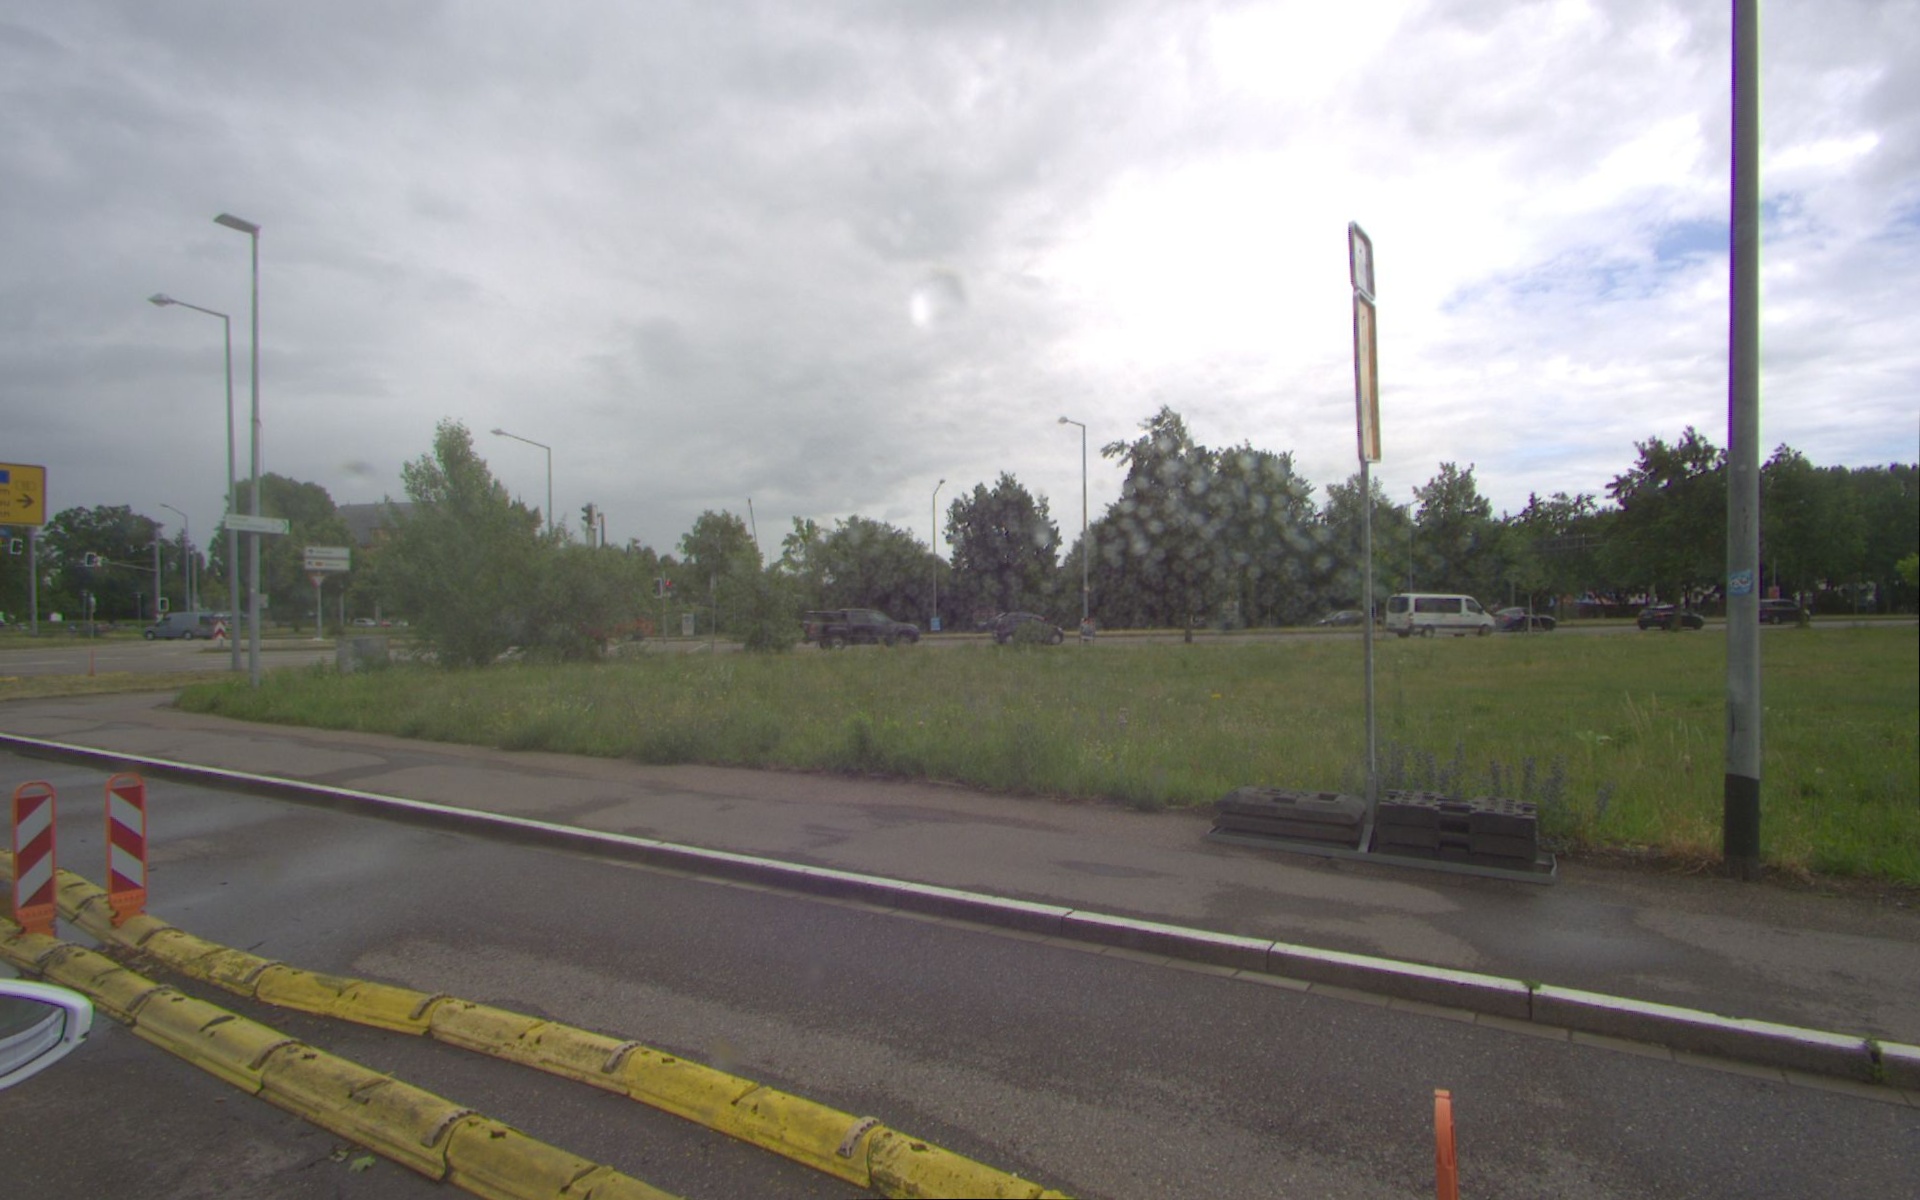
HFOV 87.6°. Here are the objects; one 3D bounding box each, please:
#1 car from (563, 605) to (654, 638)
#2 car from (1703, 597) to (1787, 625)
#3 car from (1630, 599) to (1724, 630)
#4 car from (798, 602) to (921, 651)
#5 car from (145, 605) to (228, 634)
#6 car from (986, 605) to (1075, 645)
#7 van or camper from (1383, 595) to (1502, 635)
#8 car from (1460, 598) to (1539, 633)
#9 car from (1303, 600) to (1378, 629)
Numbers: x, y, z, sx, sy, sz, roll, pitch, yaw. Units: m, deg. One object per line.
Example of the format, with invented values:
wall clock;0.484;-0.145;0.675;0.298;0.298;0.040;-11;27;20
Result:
car;-21.468;1.311;61.208;4.795;1.943;2.115;0;0;3
car;52.070;0.732;66.455;4.525;1.819;2.112;0;0;-15
car;43.560;0.883;60.877;4.522;1.819;2.114;0;0;-11
car;-4.409;1.120;43.790;4.957;1.998;2.218;0;0;-21
car;-54.894;1.381;71.091;4.391;2.040;2.000;0;0;4
car;3.433;1.184;49.015;3.927;1.873;1.997;0;0;-14
van or camper;25.278;0.766;52.471;5.789;2.040;1.997;0;0;-16
car;32.574;0.905;60.527;3.928;2.040;1.997;0;0;-15
car;27.810;1.044;73.234;4.849;2.040;1.998;0;0;-12
